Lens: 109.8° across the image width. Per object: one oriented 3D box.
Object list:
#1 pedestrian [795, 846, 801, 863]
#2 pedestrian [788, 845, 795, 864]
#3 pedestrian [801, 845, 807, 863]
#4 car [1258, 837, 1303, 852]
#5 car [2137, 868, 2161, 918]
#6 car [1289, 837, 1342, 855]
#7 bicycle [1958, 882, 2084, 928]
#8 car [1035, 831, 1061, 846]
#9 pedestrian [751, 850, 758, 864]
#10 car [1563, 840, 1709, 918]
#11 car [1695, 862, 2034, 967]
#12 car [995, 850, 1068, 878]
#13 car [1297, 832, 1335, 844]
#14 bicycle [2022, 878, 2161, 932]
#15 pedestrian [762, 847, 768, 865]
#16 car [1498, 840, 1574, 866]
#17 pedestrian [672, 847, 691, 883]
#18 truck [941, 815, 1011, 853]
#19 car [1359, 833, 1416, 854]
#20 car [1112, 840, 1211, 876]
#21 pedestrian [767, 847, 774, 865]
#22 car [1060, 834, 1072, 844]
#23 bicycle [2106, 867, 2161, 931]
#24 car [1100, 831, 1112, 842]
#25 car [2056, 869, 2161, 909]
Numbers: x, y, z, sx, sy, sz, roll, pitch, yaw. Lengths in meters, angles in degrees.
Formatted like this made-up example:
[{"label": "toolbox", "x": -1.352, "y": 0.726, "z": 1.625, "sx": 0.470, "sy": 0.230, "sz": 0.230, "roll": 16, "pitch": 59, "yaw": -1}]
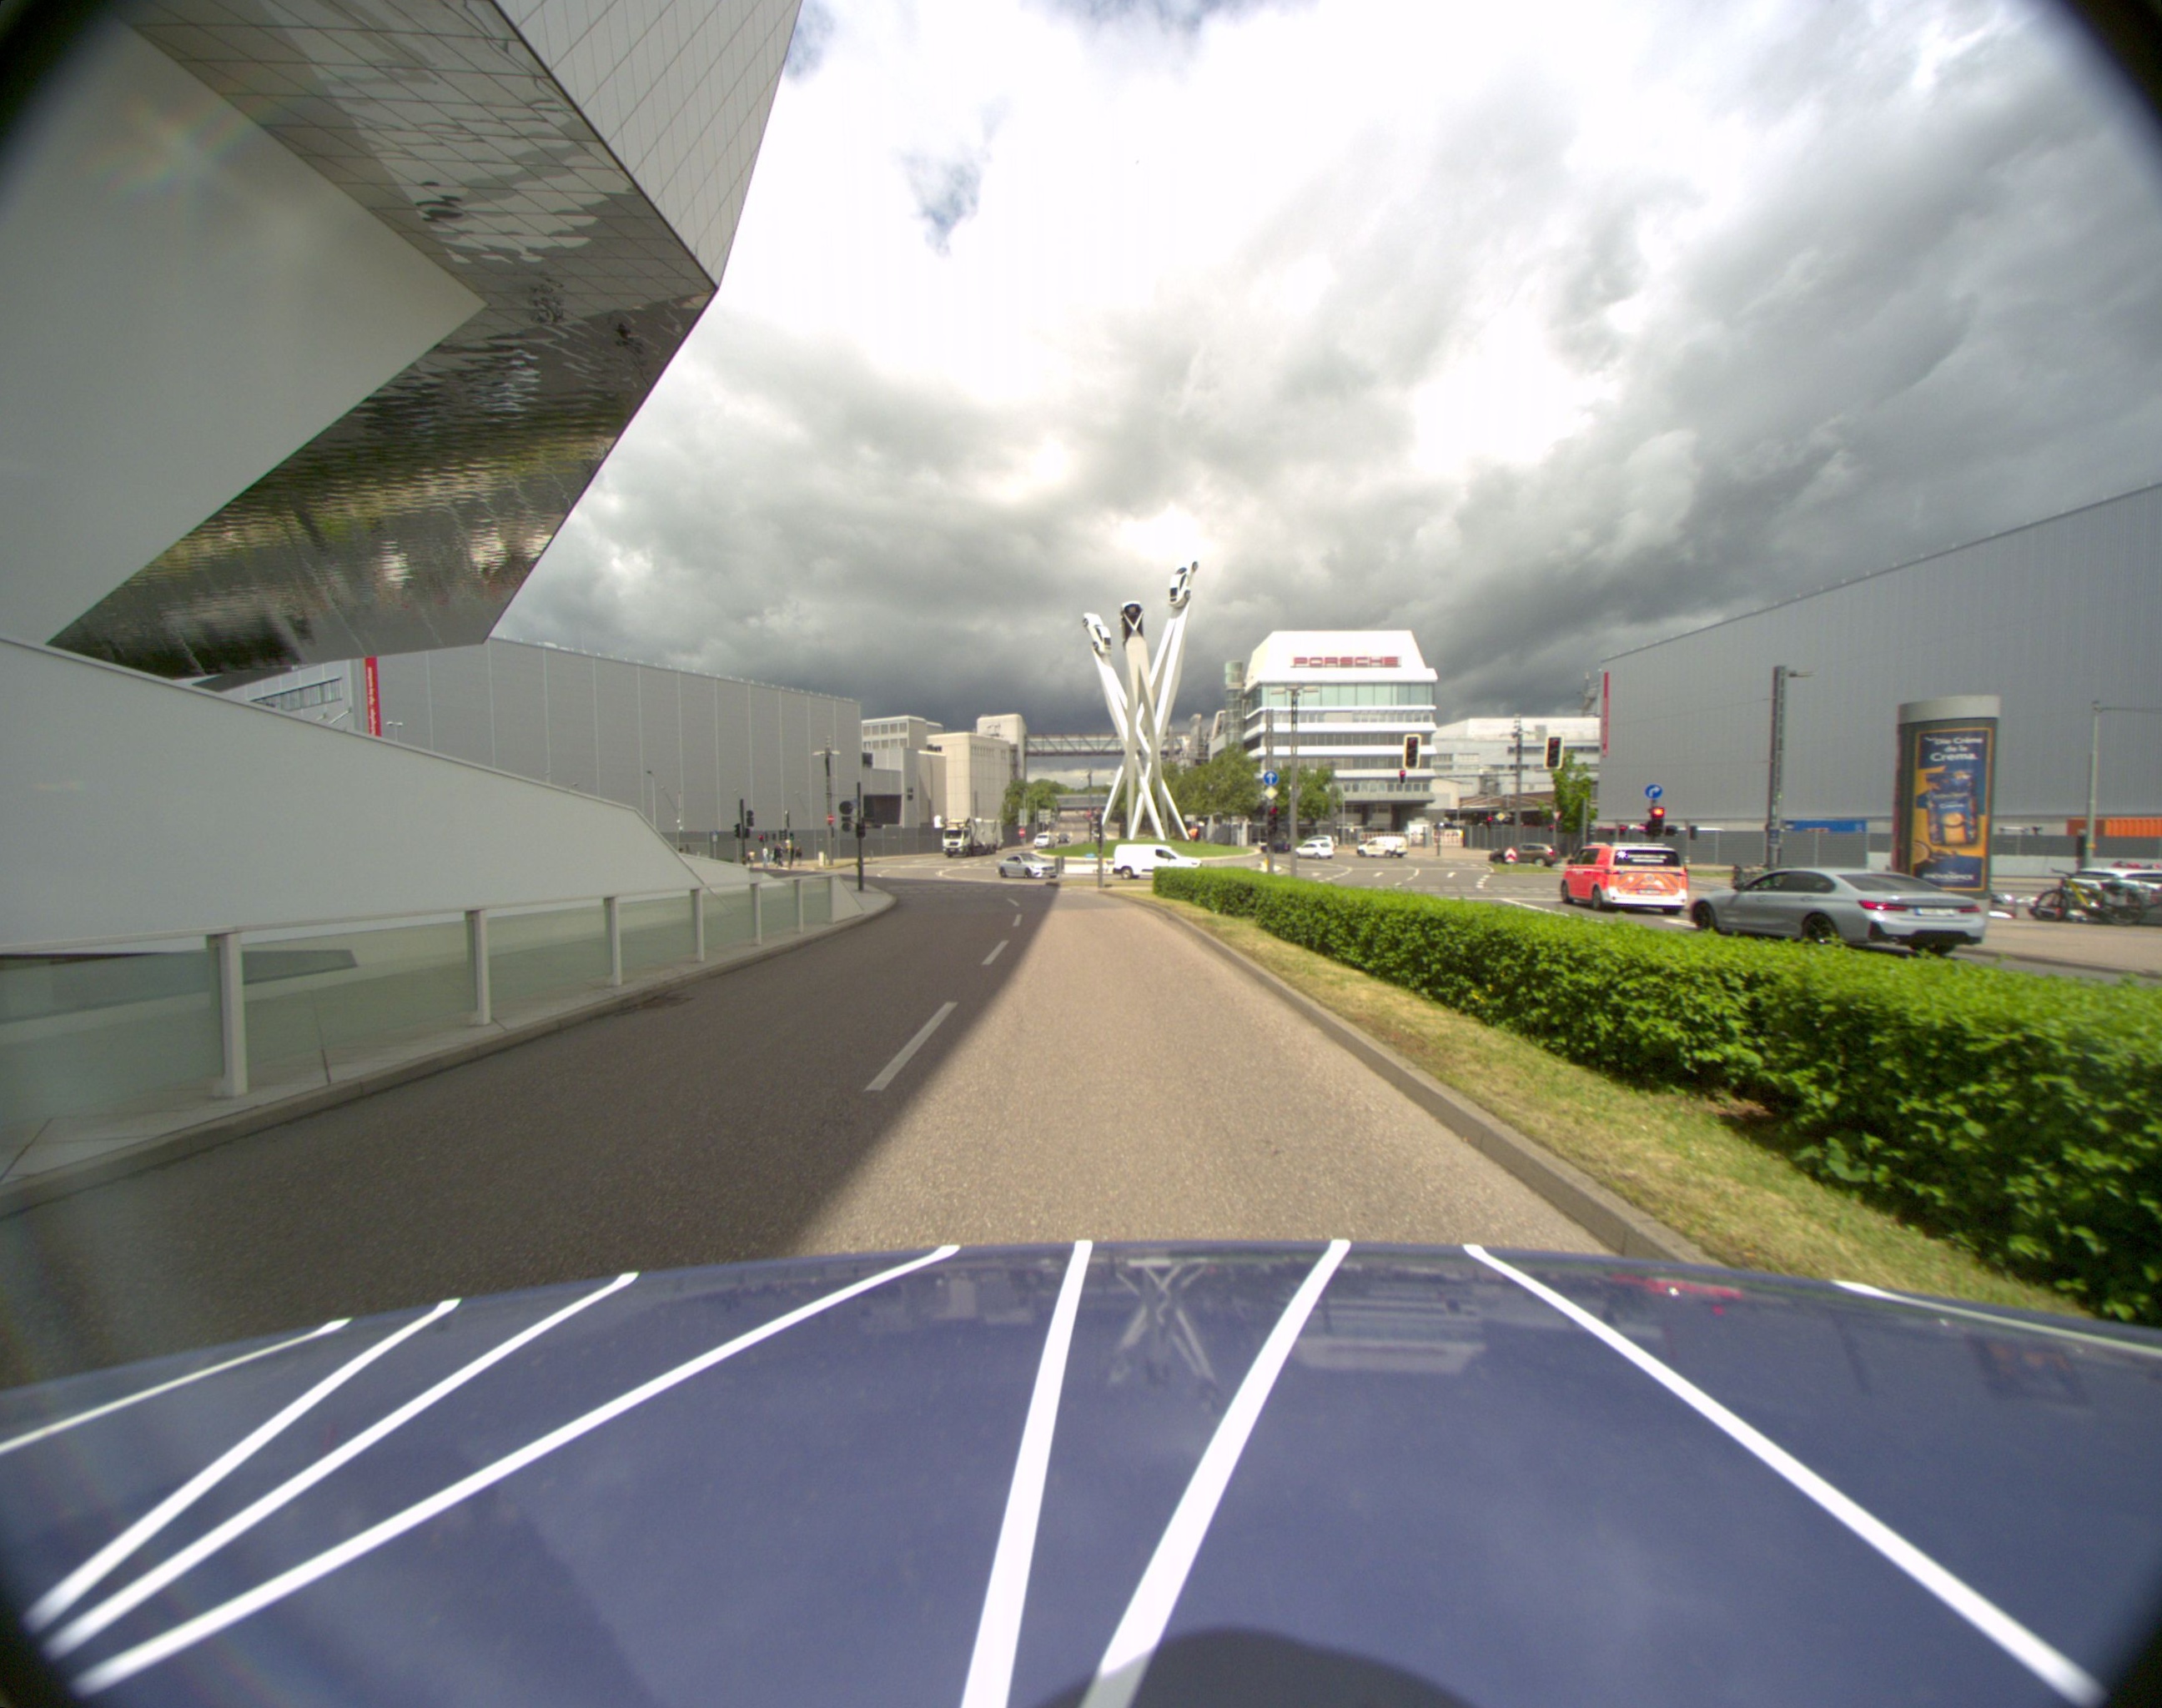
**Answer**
[{"label": "pedestrian", "x": -23.571, "y": 0.034, "z": 63.245, "sx": 0.361, "sy": 1.472, "sz": 0.402, "roll": -2, "pitch": 2, "yaw": -38}, {"label": "pedestrian", "x": -23.979, "y": 0.023, "z": 62.937, "sx": 0.428, "sy": 1.545, "sz": 0.389, "roll": -2, "pitch": 2, "yaw": -37}, {"label": "pedestrian", "x": -23.200, "y": -0.009, "z": 63.579, "sx": 0.329, "sy": 1.472, "sz": 0.359, "roll": -2, "pitch": 2, "yaw": -39}, {"label": "car", "x": 20.320, "y": -0.958, "z": 77.450, "sx": 1.941, "sy": 1.503, "sz": 4.232, "roll": -1, "pitch": 1, "yaw": -36}, {"label": "car", "x": 35.045, "y": 1.227, "z": 22.526, "sx": 3.989, "sy": 1.497, "sz": 1.754, "roll": 0, "pitch": 1, "yaw": 28}, {"label": "car", "x": 21.012, "y": -0.733, "z": 68.154, "sx": 2.003, "sy": 1.570, "sz": 4.233, "roll": -1, "pitch": 1, "yaw": -35}, {"label": "bicycle", "x": 24.439, "y": 1.316, "z": 19.789, "sx": 2.054, "sy": 1.106, "sz": 0.673, "roll": 0, "pitch": 1, "yaw": 14}, {"label": "car", "x": -4.356, "y": -2.027, "z": 101.237, "sx": 2.160, "sy": 1.899, "sz": 5.309, "roll": 0, "pitch": 1, "yaw": 12}, {"label": "pedestrian", "x": -26.507, "y": 0.256, "z": 61.728, "sx": 0.383, "sy": 1.137, "sz": 0.389, "roll": -2, "pitch": 2, "yaw": -37}, {"label": "car", "x": 15.746, "y": 0.605, "z": 21.879, "sx": 1.996, "sy": 1.947, "sz": 4.633, "roll": 0, "pitch": 1, "yaw": 17}, {"label": "car", "x": 13.677, "y": 0.939, "z": 13.769, "sx": 1.799, "sy": 1.414, "sz": 4.494, "roll": 1, "pitch": 1, "yaw": 7}, {"label": "car", "x": -2.967, "y": 0.532, "z": 44.529, "sx": 2.053, "sy": 1.477, "sz": 4.771, "roll": -1, "pitch": 1, "yaw": -35}, {"label": "car", "x": 27.603, "y": -1.857, "z": 89.370, "sx": 3.946, "sy": 1.370, "sz": 1.632, "roll": 0, "pitch": 2, "yaw": 35}, {"label": "bicycle", "x": 20.983, "y": 1.028, "z": 15.786, "sx": 0.520, "sy": 0.983, "sz": 1.950, "roll": 0, "pitch": 0, "yaw": 3}, {"label": "pedestrian", "x": -25.653, "y": 0.155, "z": 61.655, "sx": 0.383, "sy": 1.464, "sz": 0.389, "roll": -2, "pitch": 2, "yaw": -37}, {"label": "car", "x": 31.383, "y": -0.106, "z": 52.452, "sx": 4.184, "sy": 1.686, "sz": 1.958, "roll": 1, "pitch": 2, "yaw": 43}, {"label": "pedestrian", "x": -19.662, "y": 0.544, "z": 37.394, "sx": 0.560, "sy": 1.734, "sz": 0.600, "roll": 0, "pitch": 2, "yaw": 2}, {"label": "truck", "x": -10.778, "y": -2.050, "z": 79.536, "sx": 2.839, "sy": 3.669, "sz": 10.766, "roll": 0, "pitch": 1, "yaw": 17}, {"label": "car", "x": 27.152, "y": -0.969, "z": 67.404, "sx": 2.003, "sy": 1.819, "sz": 4.390, "roll": -1, "pitch": 1, "yaw": -32}, {"label": "car", "x": 4.254, "y": 0.205, "z": 40.338, "sx": 4.856, "sy": 1.812, "sz": 2.003, "roll": 0, "pitch": 1, "yaw": 23}, {"label": "pedestrian", "x": -25.231, "y": 0.150, "z": 61.774, "sx": 0.383, "sy": 1.449, "sz": 0.389, "roll": -2, "pitch": 2, "yaw": -37}, {"label": "car", "x": -2.435, "y": -2.435, "z": 124.153, "sx": 1.831, "sy": 1.555, "sz": 3.999, "roll": 0, "pitch": 1, "yaw": 1}, {"label": "bicycle", "x": 23.621, "y": 0.959, "z": 16.300, "sx": 1.954, "sy": 1.337, "sz": 0.712, "roll": 0, "pitch": 1, "yaw": 11}, {"label": "car", "x": 3.776, "y": -2.633, "z": 114.709, "sx": 1.586, "sy": 1.631, "sz": 3.802, "roll": 0, "pitch": 0, "yaw": 0}, {"label": "car", "x": 38.776, "y": 1.241, "z": 27.595, "sx": 4.182, "sy": 1.362, "sz": 1.622, "roll": 0, "pitch": 1, "yaw": 8}]
